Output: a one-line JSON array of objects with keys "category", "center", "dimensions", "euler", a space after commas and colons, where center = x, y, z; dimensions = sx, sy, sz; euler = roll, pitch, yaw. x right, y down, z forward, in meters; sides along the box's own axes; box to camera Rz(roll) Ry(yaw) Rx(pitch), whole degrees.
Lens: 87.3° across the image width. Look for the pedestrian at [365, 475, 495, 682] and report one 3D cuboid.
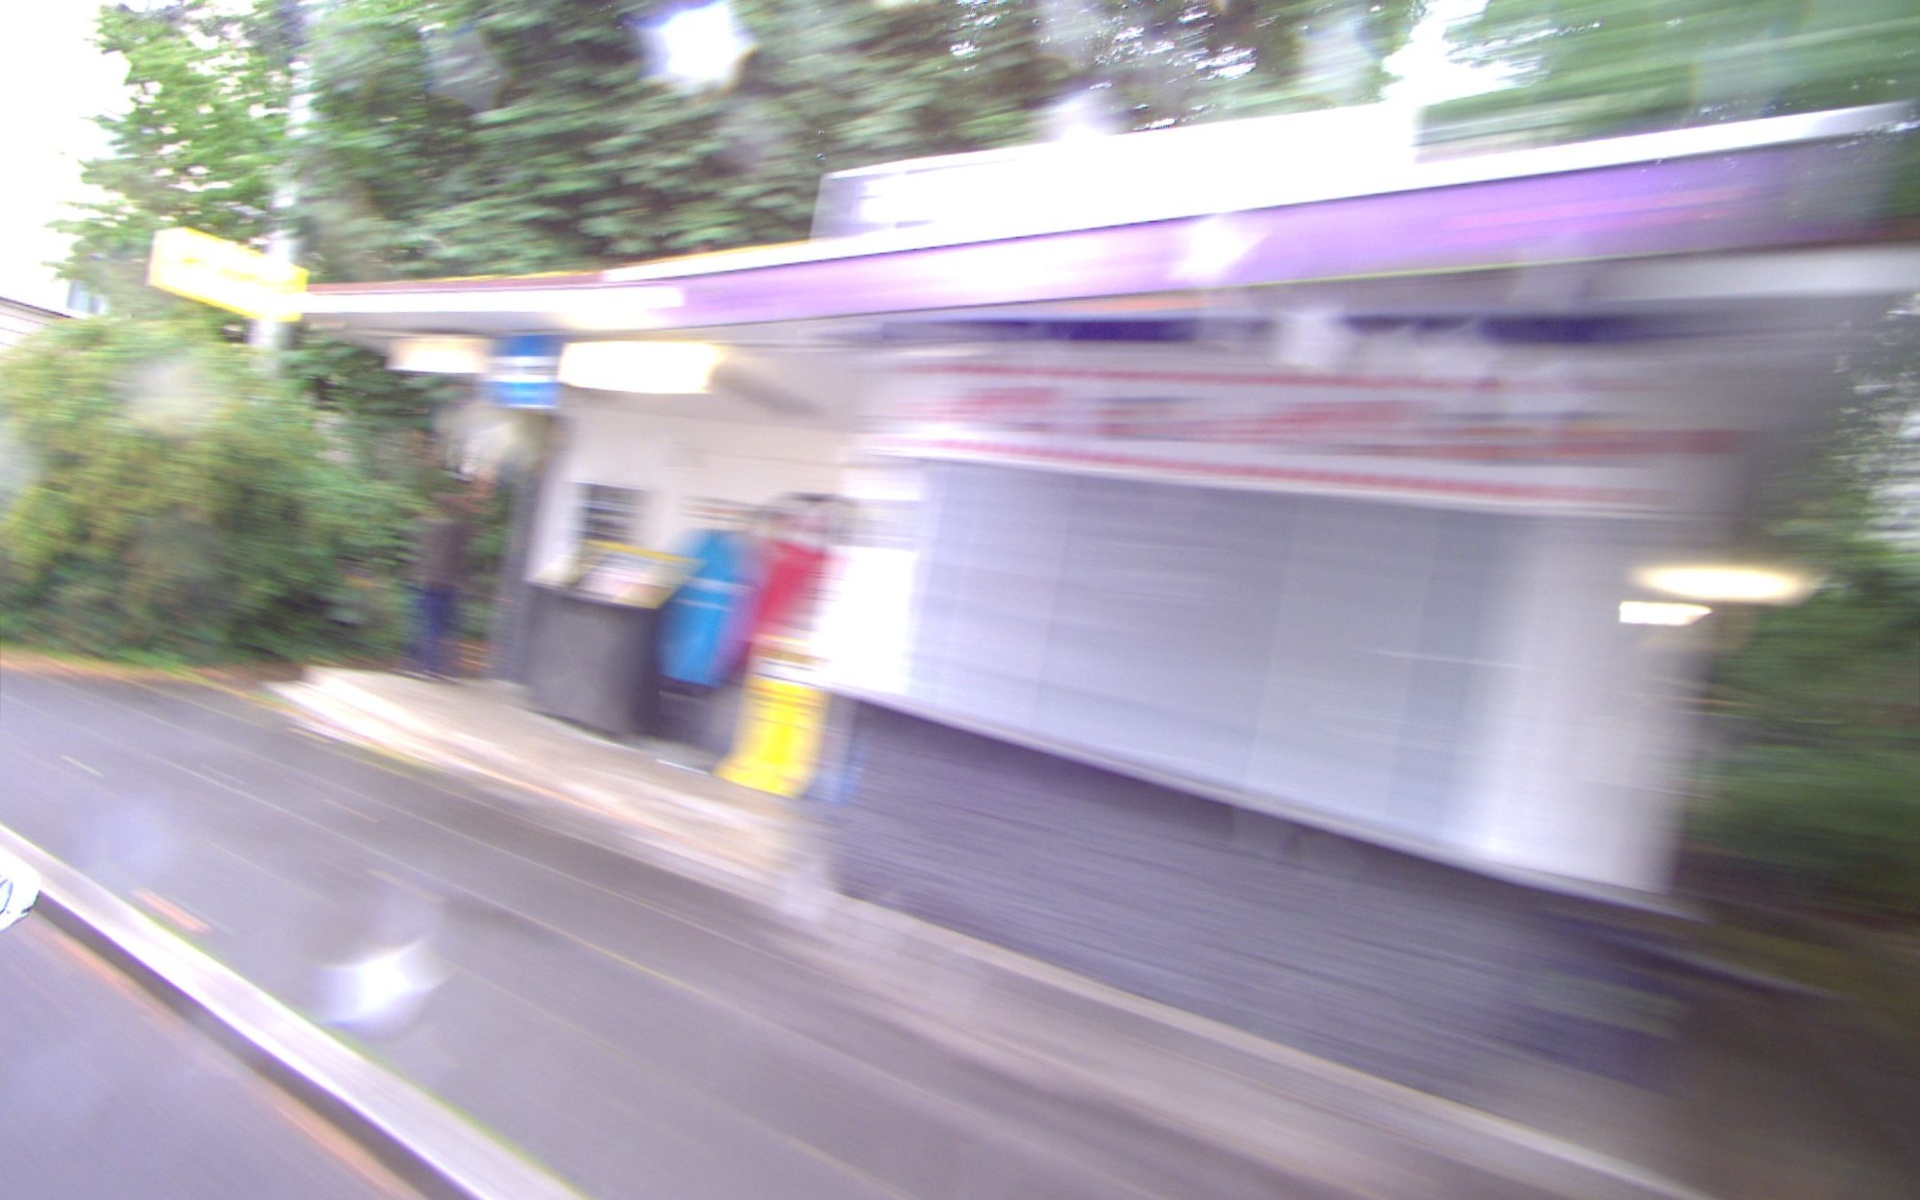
[{"category": "pedestrian", "center": [-4.813, -0.184, 9.146], "dimensions": [0.604, 1.765, 0.604], "euler": [7, -2, 32]}]
